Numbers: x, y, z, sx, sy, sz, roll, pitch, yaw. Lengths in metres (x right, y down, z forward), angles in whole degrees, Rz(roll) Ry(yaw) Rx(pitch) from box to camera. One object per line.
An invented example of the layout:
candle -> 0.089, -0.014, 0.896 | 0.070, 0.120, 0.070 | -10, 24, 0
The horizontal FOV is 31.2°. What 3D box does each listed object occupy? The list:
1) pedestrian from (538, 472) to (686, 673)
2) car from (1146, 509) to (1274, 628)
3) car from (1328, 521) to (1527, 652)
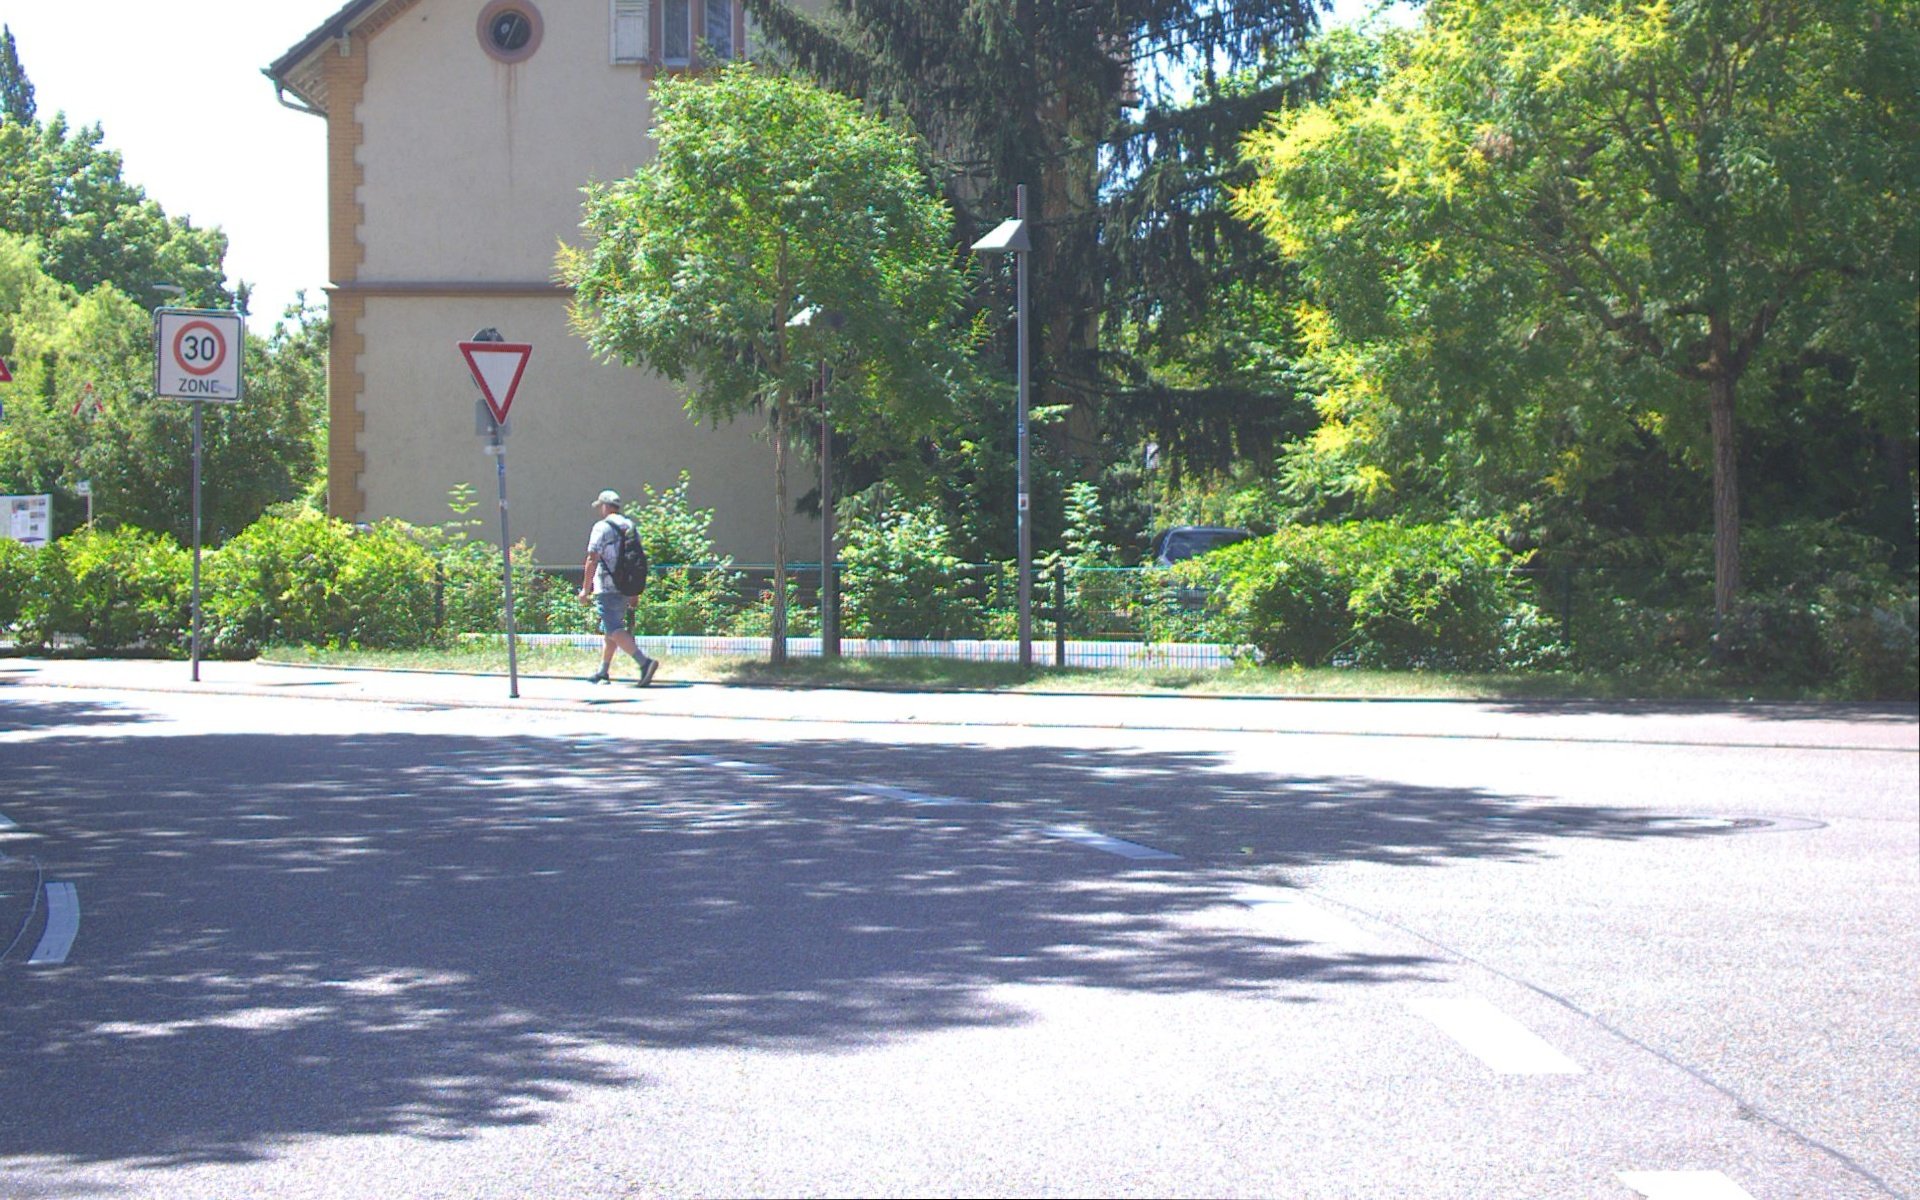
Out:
pedestrian -> -3.206, -0.264, 31.642 | 0.912, 1.765, 0.915 | -5, 4, -40
car -> 3.337, -0.458, 46.267 | 1.650, 1.531, 3.969 | 0, 1, 3
car -> 5.616, -0.209, 41.784 | 1.764, 1.494, 4.500 | 0, 1, 0
